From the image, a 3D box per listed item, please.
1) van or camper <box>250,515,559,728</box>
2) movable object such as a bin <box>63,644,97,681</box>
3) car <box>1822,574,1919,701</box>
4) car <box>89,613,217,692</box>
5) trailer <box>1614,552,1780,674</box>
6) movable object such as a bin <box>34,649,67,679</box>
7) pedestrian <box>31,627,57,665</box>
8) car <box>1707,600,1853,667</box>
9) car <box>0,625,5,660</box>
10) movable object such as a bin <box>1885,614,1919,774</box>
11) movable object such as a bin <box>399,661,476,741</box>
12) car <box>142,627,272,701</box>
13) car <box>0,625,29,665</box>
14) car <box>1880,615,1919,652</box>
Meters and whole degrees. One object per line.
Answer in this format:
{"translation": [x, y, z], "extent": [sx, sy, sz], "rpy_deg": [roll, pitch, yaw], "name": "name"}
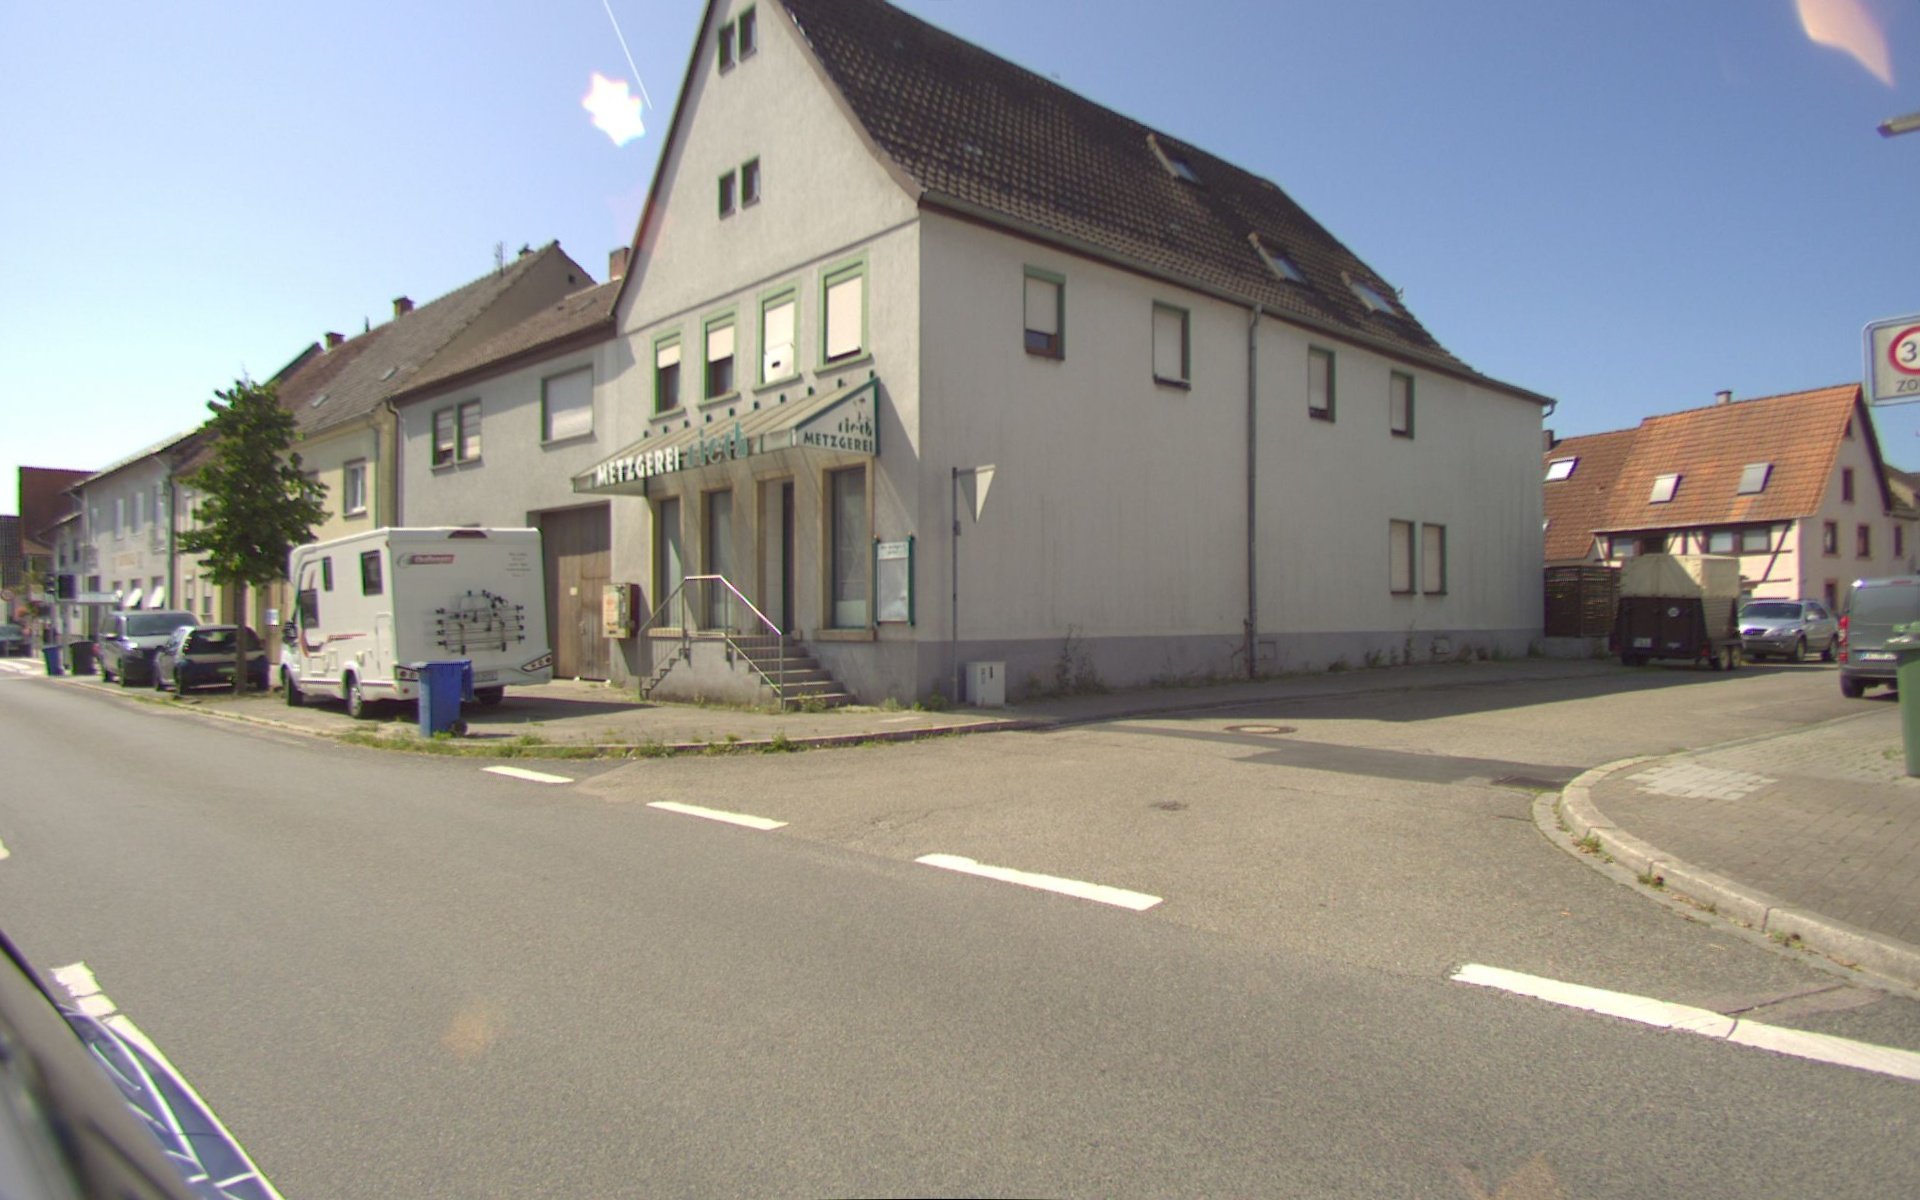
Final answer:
{"translation": [-9.657, 0.377, 17.185], "extent": [7.065, 2.927, 2.420], "rpy_deg": [-2, -1, 42], "name": "van or camper"}
{"translation": [-27.256, 1.928, 31.353], "extent": [0.550, 1.075, 0.709], "rpy_deg": [-2, -1, 39], "name": "movable object such as a bin"}
{"translation": [14.834, 0.519, 15.313], "extent": [3.701, 1.772, 1.878], "rpy_deg": [0, -1, -36], "name": "car"}
{"translation": [-21.256, 1.323, 26.582], "extent": [4.957, 1.862, 1.972], "rpy_deg": [-2, -1, 43], "name": "car"}
{"translation": [17.640, 0.285, 24.199], "extent": [3.934, 2.693, 2.063], "rpy_deg": [0, 0, -35], "name": "trailer"}
{"translation": [-28.611, 2.002, 31.831], "extent": [0.550, 0.919, 0.709], "rpy_deg": [-2, -1, 39], "name": "movable object such as a bin"}
{"translation": [-37.965, 1.907, 41.942], "extent": [0.580, 1.543, 0.743], "rpy_deg": [-2, -1, 40], "name": "pedestrian"}
{"translation": [22.304, 0.875, 27.500], "extent": [3.933, 1.697, 2.005], "rpy_deg": [0, -2, -34], "name": "car"}
{"translation": [-53.645, 2.306, 55.180], "extent": [4.957, 1.862, 1.971], "rpy_deg": [-2, -2, 43], "name": "car"}
{"translation": [7.221, 0.671, 7.323], "extent": [0.663, 1.146, 0.646], "rpy_deg": [0, -2, -38], "name": "movable object such as a bin"}
{"translation": [-6.228, 1.186, 12.062], "extent": [0.613, 0.878, 0.636], "rpy_deg": [-2, -1, 41], "name": "movable object such as a bin"}
{"translation": [-17.022, 1.383, 22.834], "extent": [3.617, 1.493, 1.667], "rpy_deg": [-2, -1, 42], "name": "car"}
{"translation": [-46.236, 2.148, 48.298], "extent": [4.957, 1.862, 2.324], "rpy_deg": [-2, -2, 43], "name": "car"}
{"translation": [35.210, 1.179, 36.566], "extent": [3.933, 1.276, 2.005], "rpy_deg": [0, -2, -34], "name": "car"}
